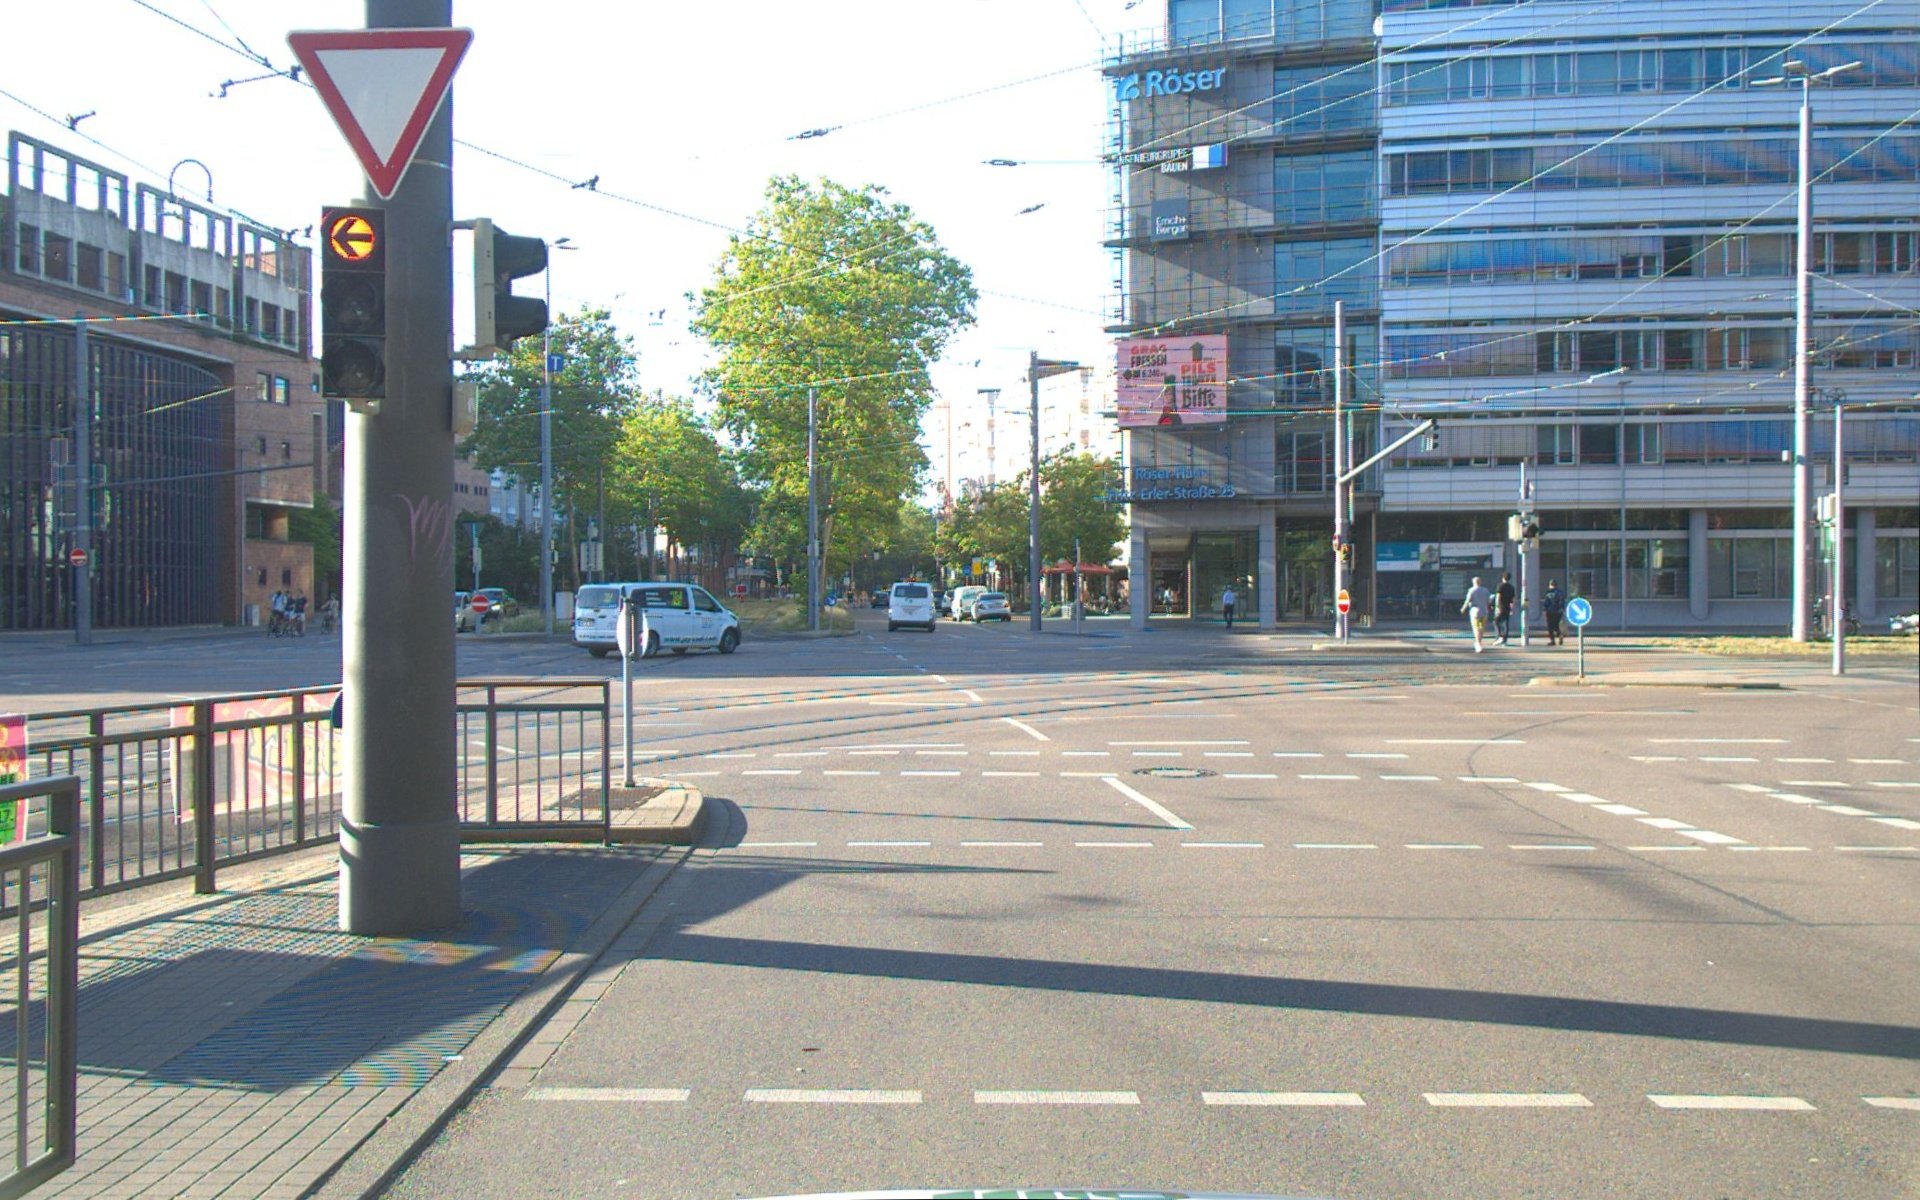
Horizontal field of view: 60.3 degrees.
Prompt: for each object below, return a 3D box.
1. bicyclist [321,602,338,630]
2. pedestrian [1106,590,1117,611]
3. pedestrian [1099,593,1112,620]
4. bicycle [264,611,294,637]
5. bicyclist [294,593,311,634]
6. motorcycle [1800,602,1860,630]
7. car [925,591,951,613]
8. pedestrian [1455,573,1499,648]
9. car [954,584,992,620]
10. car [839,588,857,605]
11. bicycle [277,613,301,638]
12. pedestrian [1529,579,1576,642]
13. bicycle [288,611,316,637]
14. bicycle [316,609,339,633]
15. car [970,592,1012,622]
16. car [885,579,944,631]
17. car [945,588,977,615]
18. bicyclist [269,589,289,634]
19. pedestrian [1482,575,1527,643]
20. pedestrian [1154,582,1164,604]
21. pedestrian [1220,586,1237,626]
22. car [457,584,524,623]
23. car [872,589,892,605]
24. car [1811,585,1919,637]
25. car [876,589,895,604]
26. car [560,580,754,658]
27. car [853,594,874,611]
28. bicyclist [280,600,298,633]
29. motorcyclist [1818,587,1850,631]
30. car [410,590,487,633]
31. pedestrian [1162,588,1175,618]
[{"bbox_3d":[-27.156,0.684,71.217,0.495,1.199,0.581,-1,0,-1],"label":"bicyclist"},{"bbox_3d":[9.649,0.023,105.293,0.565,1.311,0.910,-1,0,-1],"label":"pedestrian"},{"bbox_3d":[9.248,0.416,105.080,0.729,1.744,0.612,-1,0,-1],"label":"pedestrian"},{"bbox_3d":[-26.831,0.946,65.145,0.531,0.980,1.586,-1,0,-1],"label":"bicycle"},{"bbox_3d":[-25.985,0.529,65.388,0.449,1.631,0.581,-1,0,-1],"label":"bicyclist"},{"bbox_3d":[26.114,0.473,49.637,1.535,0.824,0.467,-1,0,3],"label":"motorcycle"},{"bbox_3d":[-1.683,0.130,126.626,1.953,1.646,3.999,-1,0,-1],"label":"car"},{"bbox_3d":[12.832,0.260,41.066,0.845,1.820,0.872,-1,0,5],"label":"pedestrian"},{"bbox_3d":[0.684,0.116,89.566,1.953,1.892,3.999,-1,0,-1],"label":"car"},{"bbox_3d":[-13.878,-0.455,205.444,1.953,2.049,3.999,-1,0,-1],"label":"car"},{"bbox_3d":[-27.627,1.048,68.077,0.458,0.980,1.320,-1,0,-1],"label":"bicycle"},{"bbox_3d":[15.134,0.262,42.242,0.928,1.591,0.897,-1,0,6],"label":"pedestrian"},{"bbox_3d":[-25.949,0.932,65.258,0.463,0.980,1.575,-1,0,-1],"label":"bicycle"},{"bbox_3d":[-27.169,0.908,71.064,0.442,0.980,1.347,-1,0,-1],"label":"bicycle"},{"bbox_3d":[1.533,0.336,82.780,1.953,1.400,3.999,-1,0,-1],"label":"car"},{"bbox_3d":[-1.723,0.171,64.288,1.718,1.899,4.528,-1,0,6],"label":"car"},{"bbox_3d":[0.032,0.070,105.203,1.953,1.646,3.999,-1,0,-1],"label":"car"},{"bbox_3d":[-26.839,0.454,65.161,0.525,1.761,0.581,-1,0,-1],"label":"bicyclist"},{"bbox_3d":[13.957,0.237,42.419,0.893,1.714,1.036,-1,0,6],"label":"pedestrian"},{"bbox_3d":[15.869,-0.534,131.961,0.729,1.744,0.612,-1,0,-1],"label":"pedestrian"},{"bbox_3d":[10.381,0.212,64.016,0.599,1.534,0.579,-1,0,6],"label":"pedestrian"},{"bbox_3d":[-21.124,0.146,74.586,1.953,1.668,3.999,-1,0,-2],"label":"car"},{"bbox_3d":[-7.178,-0.282,152.779,1.761,1.467,3.999,-1,0,-1],"label":"car"},{"bbox_3d":[26.592,0.291,46.797,4.070,1.423,1.786,-1,0,4],"label":"car"},{"bbox_3d":[-7.452,-0.370,165.156,1.761,1.467,3.999,-1,0,-1],"label":"car"},{"bbox_3d":[-7.737,0.451,42.776,1.925,1.881,5.318,-1,0,31],"label":"car"},{"bbox_3d":[-8.593,0.210,146.871,1.762,1.467,3.998,1,0,-3],"label":"car"},{"bbox_3d":[-27.621,0.677,68.085,0.495,1.327,0.581,-1,0,-1],"label":"bicyclist"},{"bbox_3d":[26.228,0.259,49.644,0.697,1.298,0.460,-1,0,3],"label":"motorcyclist"},{"bbox_3d":[-20.670,0.446,67.027,1.953,1.668,3.999,-1,0,-2],"label":"car"},{"bbox_3d":[10.626,0.153,84.263,0.599,1.534,0.579,-1,0,7],"label":"pedestrian"}]
